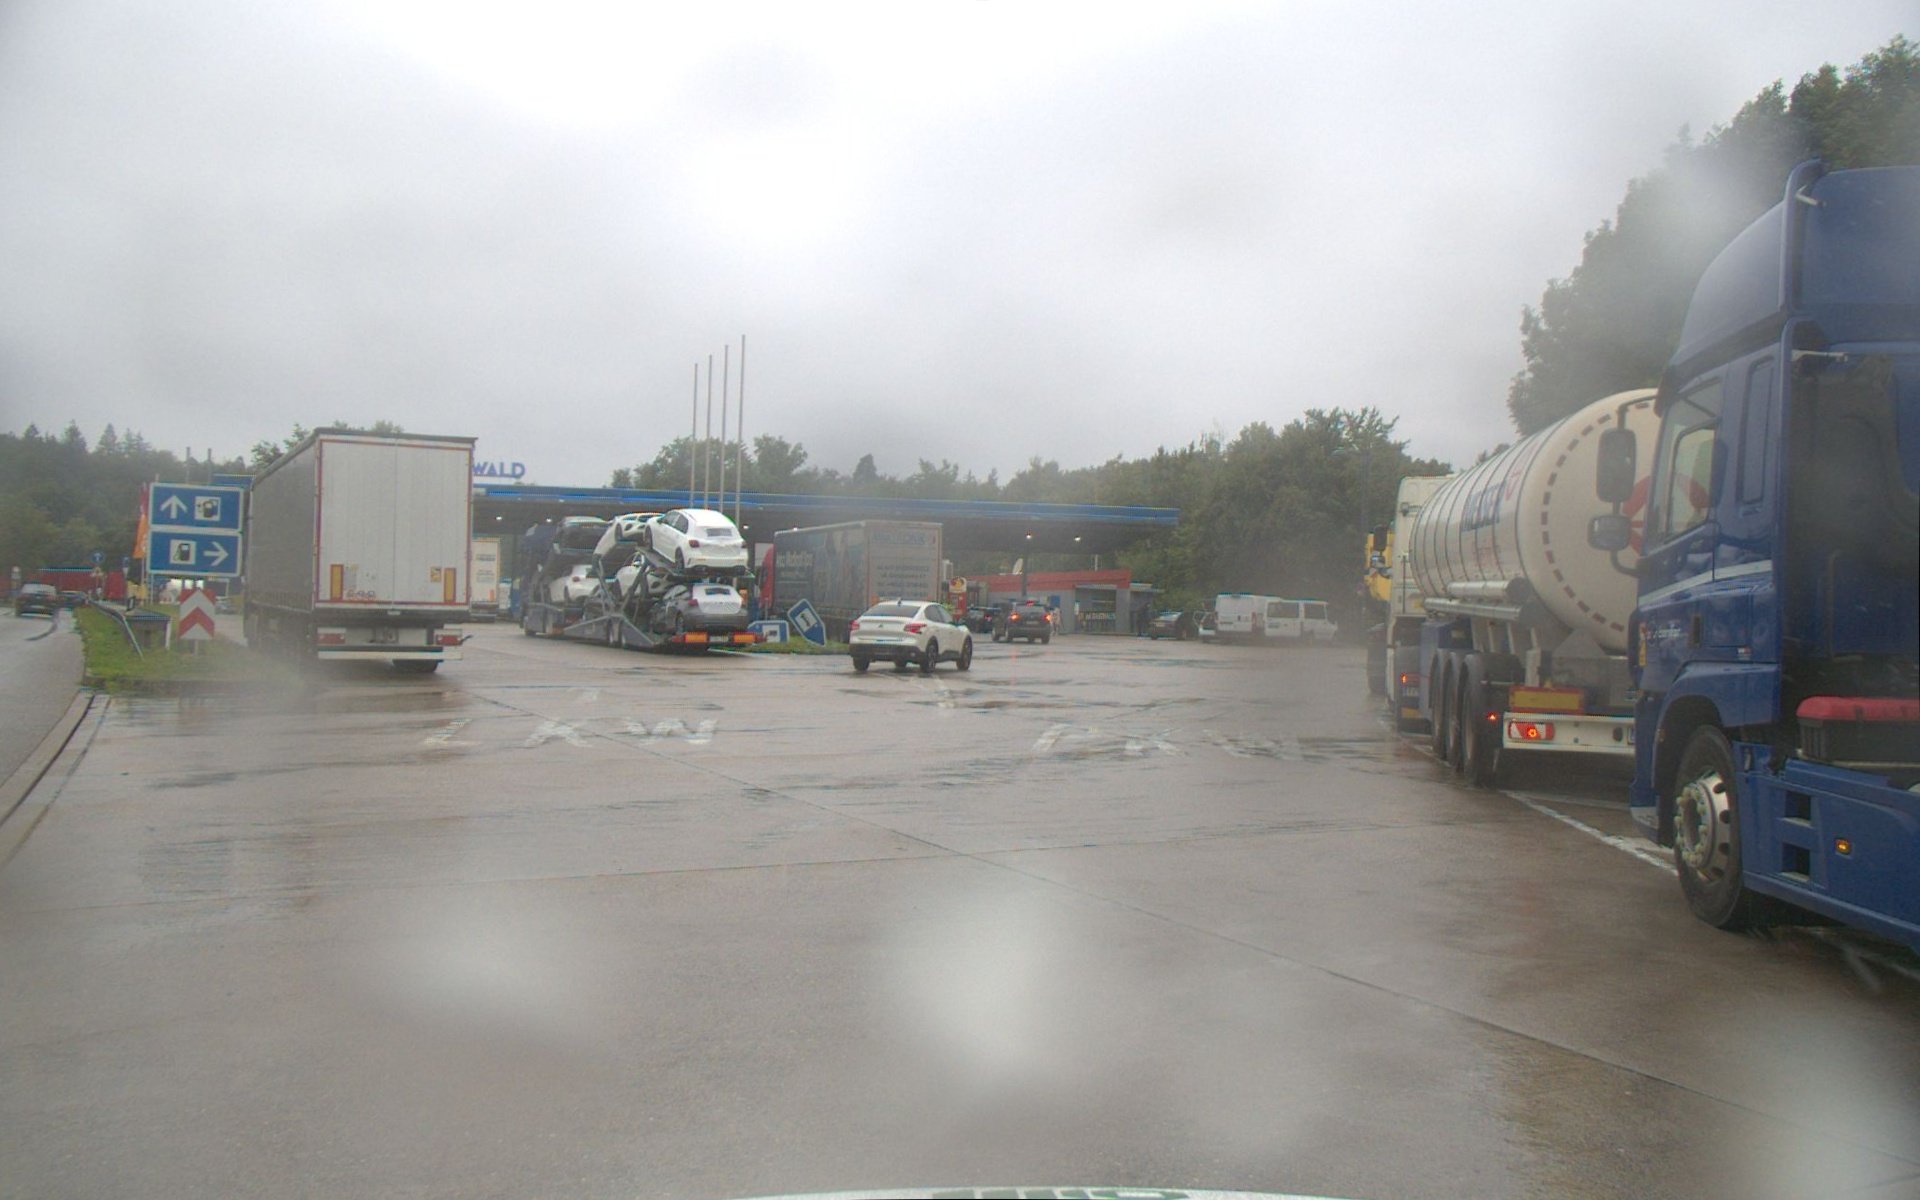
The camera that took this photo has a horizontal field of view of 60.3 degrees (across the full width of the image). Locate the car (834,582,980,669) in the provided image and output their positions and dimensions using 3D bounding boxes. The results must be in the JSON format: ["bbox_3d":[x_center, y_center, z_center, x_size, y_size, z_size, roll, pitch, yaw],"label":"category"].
[{"bbox_3d":[-1.098,0.591,36.525,1.952,1.708,4.002,3,-1,17],"label":"car"}]

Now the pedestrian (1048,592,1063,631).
[{"bbox_3d":[5.263,0.642,91.079,0.655,2.049,0.743,3,-3,6],"label":"pedestrian"}]

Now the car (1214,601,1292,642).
[{"bbox_3d":[13.211,0.979,74.428,2.076,1.758,3.988,1,0,33],"label":"car"}]

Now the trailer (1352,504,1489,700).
[{"bbox_3d":[9.366,0.048,33.140,2.137,3.452,7.566,1,0,19],"label":"trailer"}]

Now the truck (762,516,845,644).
[{"bbox_3d":[-5.996,-0.705,63.034,1.958,4.629,4.768,2,-1,-19],"label":"truck"}]

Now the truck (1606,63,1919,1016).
[{"bbox_3d":[4.653,-0.215,7.112,2.010,3.593,4.747,2,-1,3],"label":"truck"}]

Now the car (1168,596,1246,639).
[{"bbox_3d":[11.692,0.827,77.987,2.076,1.971,4.180,1,0,33],"label":"car"}]

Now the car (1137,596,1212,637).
[{"bbox_3d":[10.702,0.826,82.179,2.076,1.971,4.180,1,0,33],"label":"car"}]

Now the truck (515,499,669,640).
[{"bbox_3d":[-12.533,-0.983,55.715,3.193,4.262,8.376,3,0,-25],"label":"truck"}]

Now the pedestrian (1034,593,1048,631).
[{"bbox_3d":[4.509,0.668,92.259,0.575,2.049,0.637,4,-3,-3],"label":"pedestrian"}]

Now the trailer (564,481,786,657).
[{"bbox_3d":[-8.343,-0.817,46.732,3.175,4.262,11.438,3,0,-25],"label":"trailer"}]

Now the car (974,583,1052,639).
[{"bbox_3d":[2.175,0.495,68.540,1.962,2.049,3.980,4,-3,-17],"label":"car"}]

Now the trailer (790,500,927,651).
[{"bbox_3d":[-3.614,-0.739,56.169,1.963,4.639,9.754,2,-1,-19],"label":"trailer"}]

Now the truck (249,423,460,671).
[{"bbox_3d":[-12.158,-0.898,32.341,2.343,3.942,12.344,1,0,-27],"label":"truck"}]

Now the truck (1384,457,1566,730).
[{"bbox_3d":[7.387,-0.092,24.166,2.100,3.574,4.650,1,0,13],"label":"truck"}]

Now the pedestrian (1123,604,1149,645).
[{"bbox_3d":[8.747,1.211,82.208,0.935,1.953,1.088,1,0,25],"label":"pedestrian"}]

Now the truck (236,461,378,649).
[{"bbox_3d":[-15.198,-0.965,38.221,2.343,3.942,6.949,1,0,-27],"label":"truck"}]

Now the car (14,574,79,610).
[{"bbox_3d":[-40.673,-0.326,73.720,1.851,1.487,3.976,3,-1,-20],"label":"car"}]

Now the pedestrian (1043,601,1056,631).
[{"bbox_3d":[4.754,0.863,88.215,0.596,1.566,0.594,2,-2,-4],"label":"pedestrian"}]

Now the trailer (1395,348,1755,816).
[{"bbox_3d":[5.982,-0.119,17.614,2.086,3.501,10.261,1,0,12],"label":"trailer"}]

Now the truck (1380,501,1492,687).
[{"bbox_3d":[10.704,-0.125,37.006,2.135,3.895,4.143,1,0,19],"label":"truck"}]

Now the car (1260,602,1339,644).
[{"bbox_3d":[14.848,0.996,72.180,2.076,1.758,3.988,1,0,33],"label":"car"}]

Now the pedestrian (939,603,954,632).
[{"bbox_3d":[-0.756,0.989,93.770,0.703,1.548,0.743,3,-3,6],"label":"pedestrian"}]
